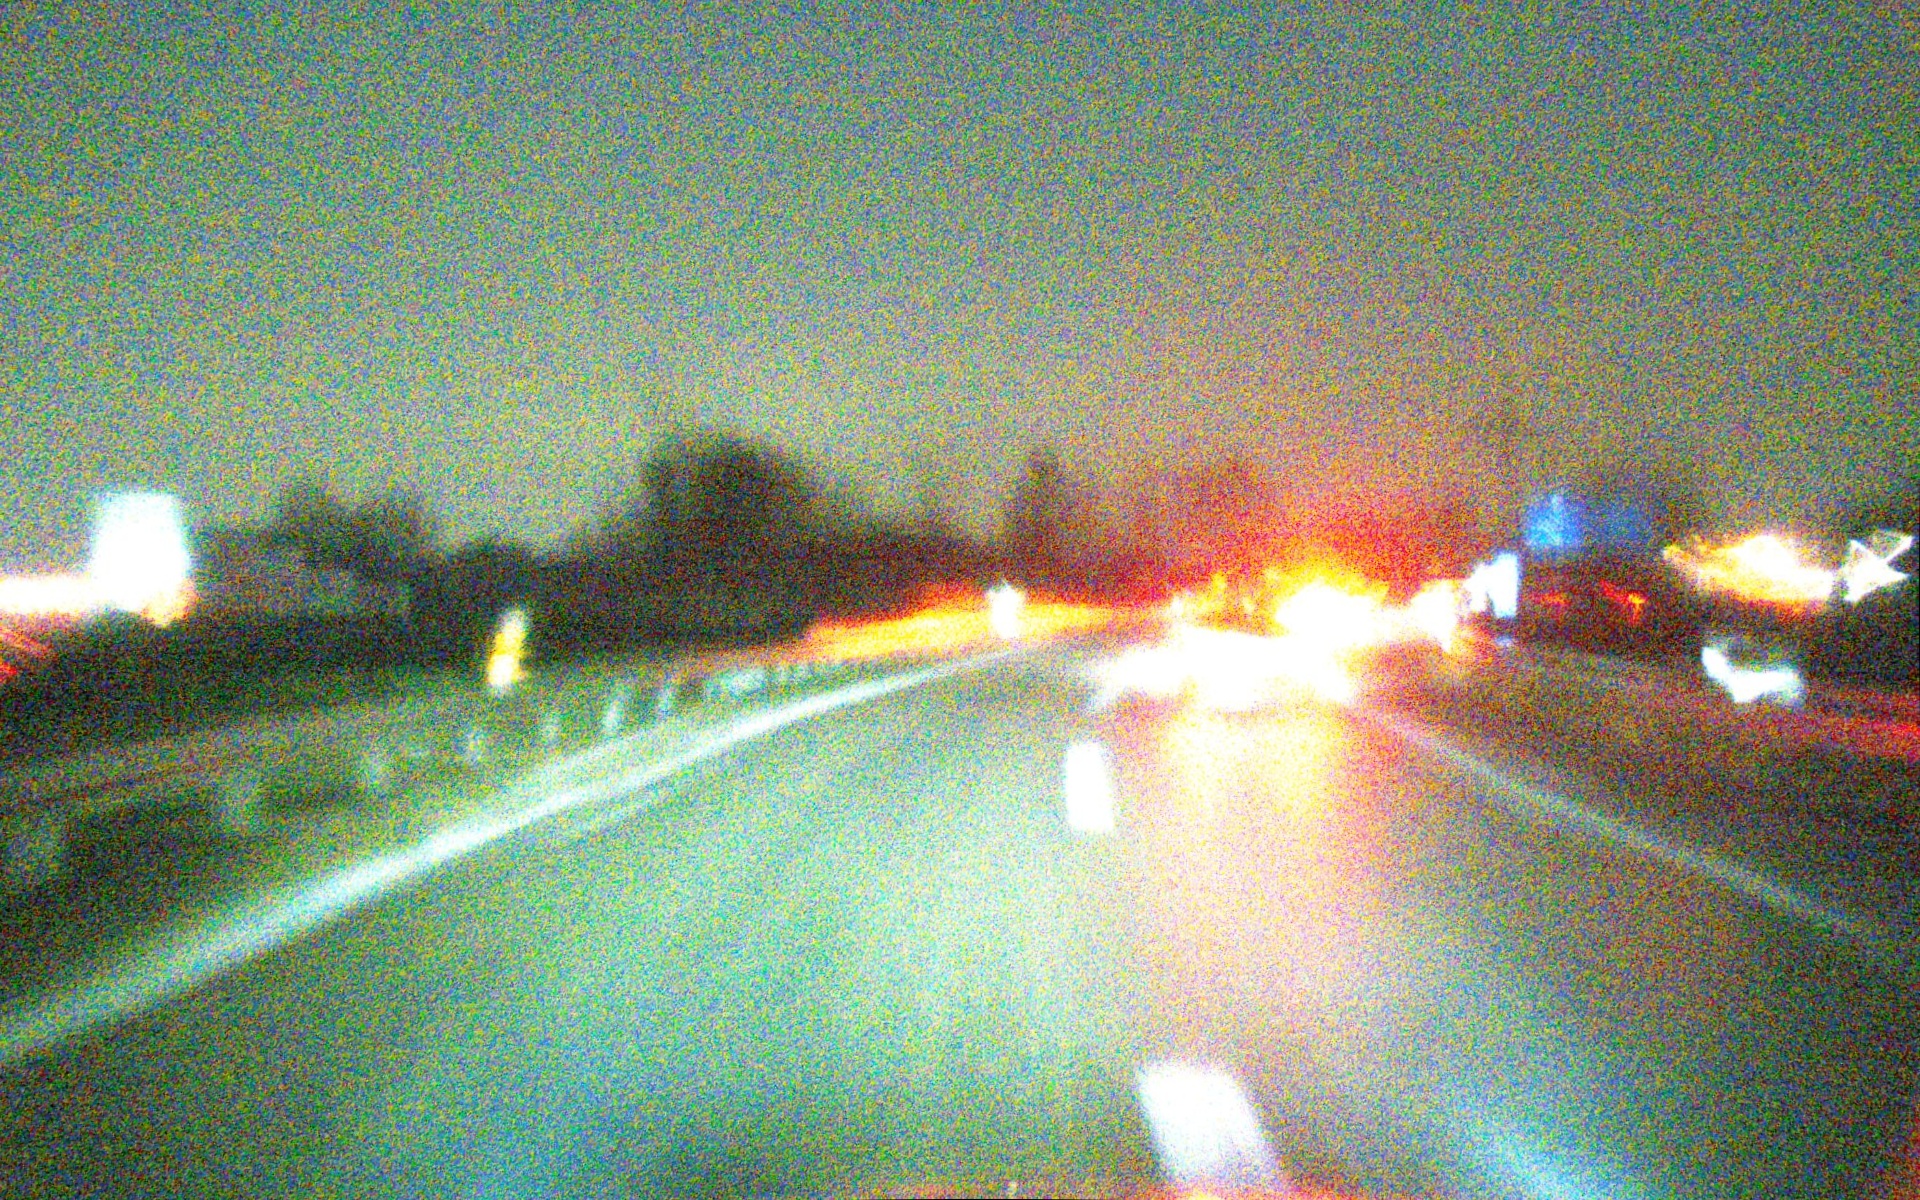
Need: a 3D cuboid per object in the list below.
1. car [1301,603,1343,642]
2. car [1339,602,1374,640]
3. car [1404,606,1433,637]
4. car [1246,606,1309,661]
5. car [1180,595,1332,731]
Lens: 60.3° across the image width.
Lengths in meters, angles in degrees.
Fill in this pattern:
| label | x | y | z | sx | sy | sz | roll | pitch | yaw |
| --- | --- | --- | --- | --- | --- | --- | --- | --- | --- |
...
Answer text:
| label | x | y | z | sx | sy | sz | roll | pitch | yaw |
| --- | --- | --- | --- | --- | --- | --- | --- | --- | --- |
| car | 17.086 | 1.038 | 78.090 | 1.855 | 1.750 | 4.049 | 1 | 0 | 12 |
| car | 22.877 | 1.198 | 95.293 | 1.855 | 2.076 | 4.048 | 1 | 0 | 15 |
| car | 31.508 | 1.455 | 113.583 | 1.855 | 2.033 | 4.048 | 0 | 0 | 16 |
| car | 10.937 | 1.154 | 56.814 | 1.821 | 1.738 | 4.071 | 3 | 0 | 14 |
| car | 4.018 | 0.801 | 22.993 | 1.821 | 1.676 | 4.072 | 1 | 0 | 7 |
